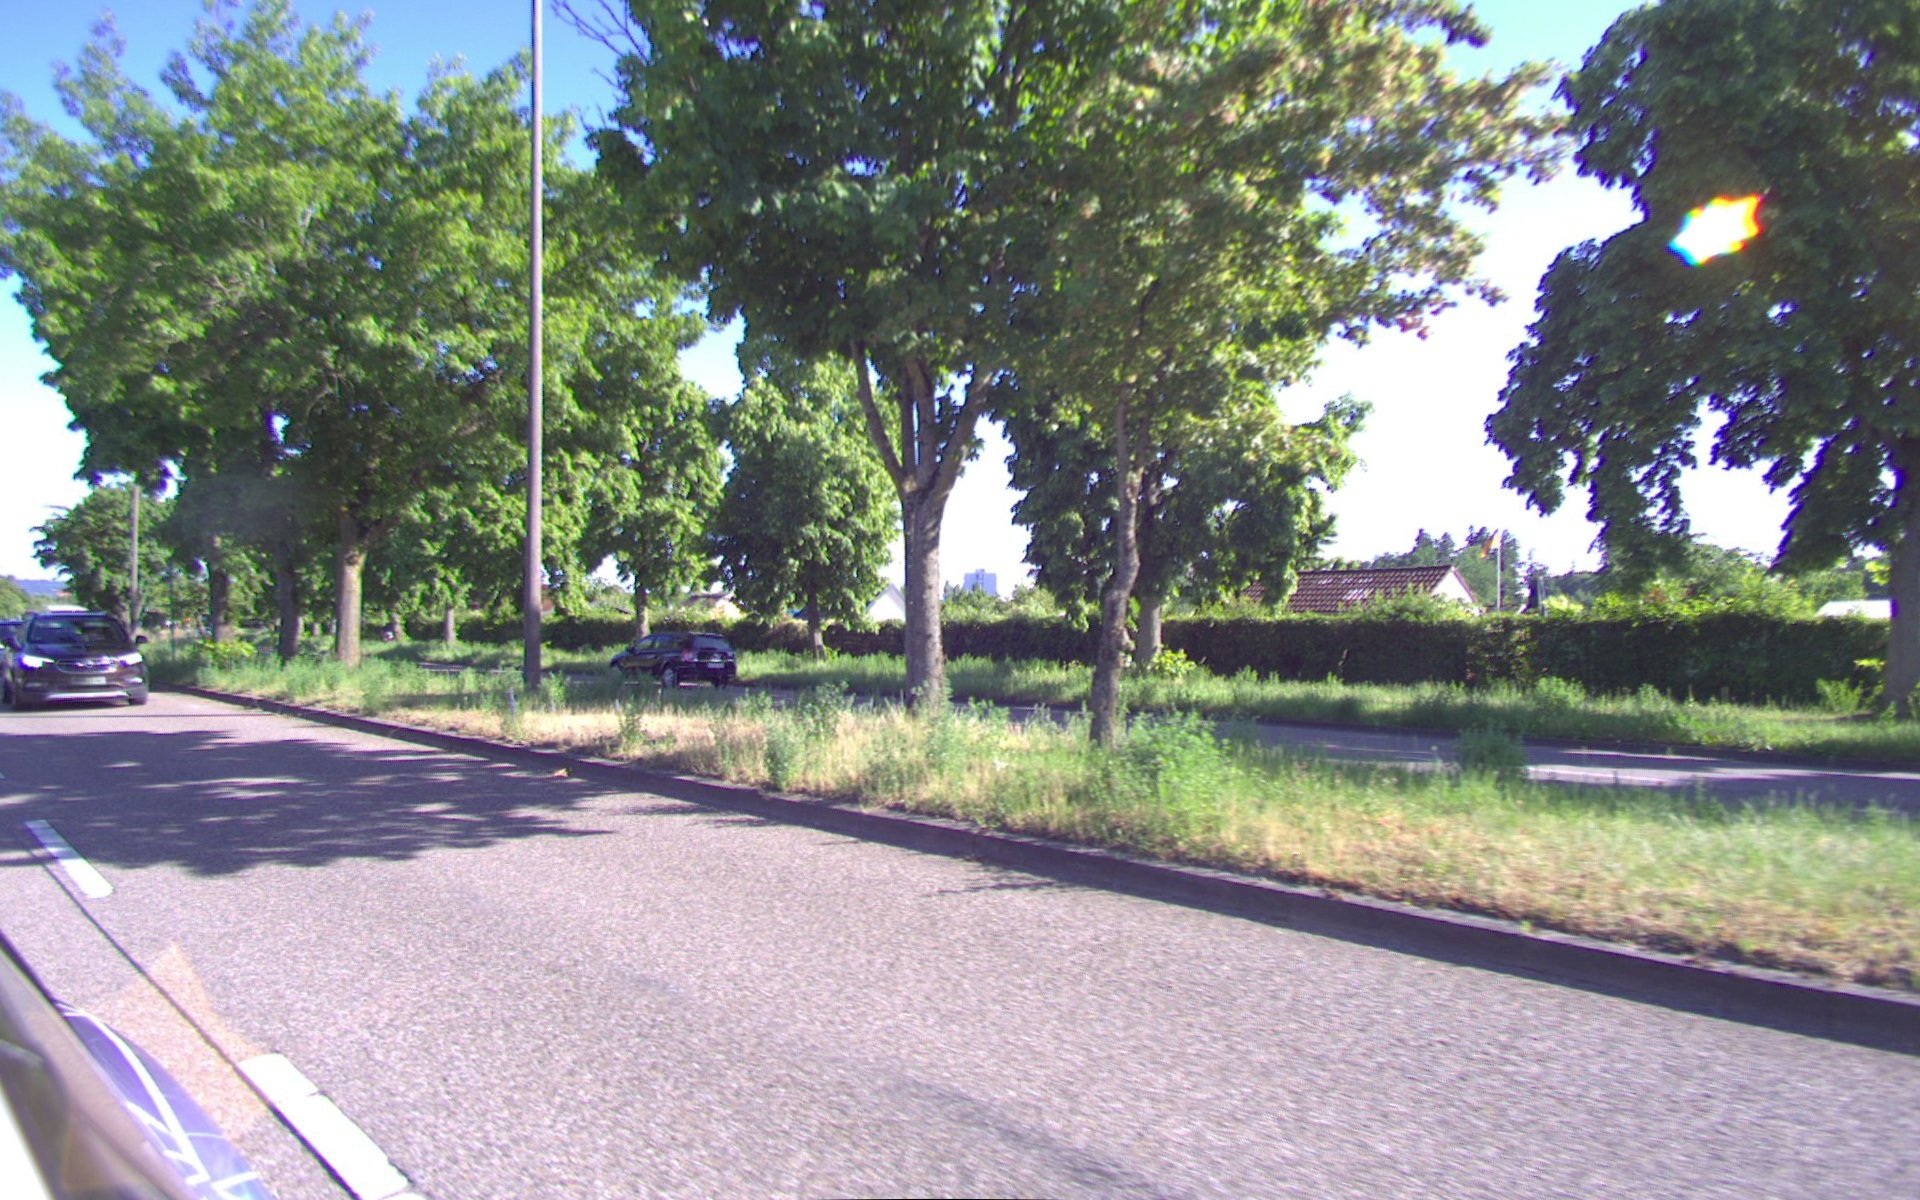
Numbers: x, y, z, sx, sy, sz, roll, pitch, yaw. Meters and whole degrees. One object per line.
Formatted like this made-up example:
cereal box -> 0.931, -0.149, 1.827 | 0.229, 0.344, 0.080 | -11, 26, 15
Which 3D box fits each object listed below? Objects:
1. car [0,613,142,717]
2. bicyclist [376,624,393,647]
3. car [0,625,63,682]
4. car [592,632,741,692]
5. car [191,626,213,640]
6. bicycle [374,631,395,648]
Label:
car -> -16.071, 1.059, 18.165 | 1.785, 1.627, 4.518 | 1, -1, -43
bicyclist -> -35.443, 2.172, 62.341 | 0.681, 1.432, 1.001 | 1, -2, -44
car -> -28.141, 1.547, 30.335 | 1.796, 1.574, 4.653 | 0, -2, -41
car -> -7.982, 1.625, 27.279 | 1.673, 1.447, 4.943 | 4, -4, -44
car -> -92.743, 4.043, 123.841 | 1.914, 1.669, 4.007 | -1, 0, -40
bicycle -> -35.477, 2.410, 62.376 | 0.681, 1.004, 1.843 | 1, -2, -43
